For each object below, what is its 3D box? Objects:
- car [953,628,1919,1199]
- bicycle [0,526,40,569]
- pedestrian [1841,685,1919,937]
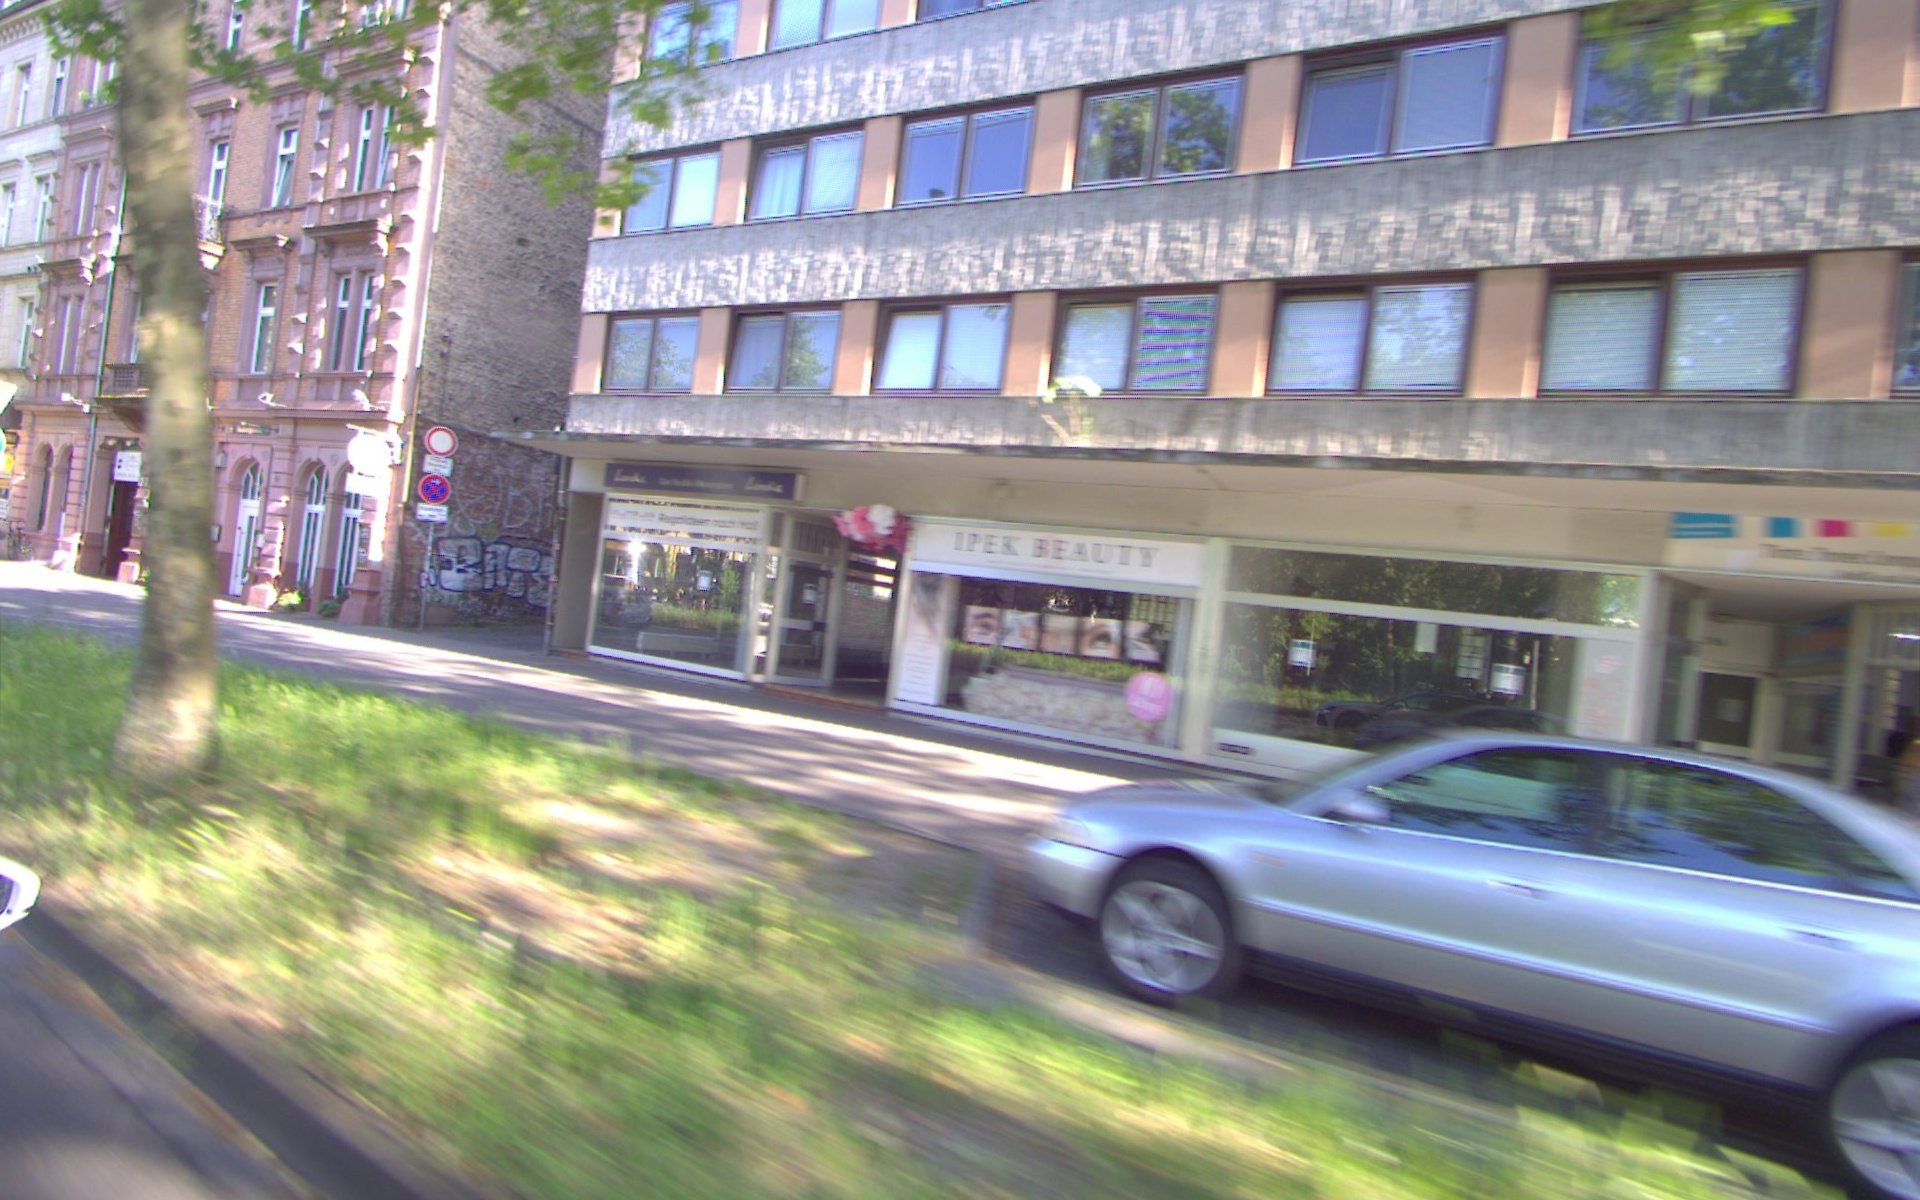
[{"bbox_3d":[2.397,1.188,4.499,4.438,1.439,1.706,7,-3,28],"label":"car"},{"bbox_3d":[-26.014,-1.452,27.630,1.659,1.004,0.444,7,-2,28],"label":"bicycle"},{"bbox_3d":[7.321,1.598,7.553,0.703,1.780,1.003,7,-2,29],"label":"pedestrian"}]
